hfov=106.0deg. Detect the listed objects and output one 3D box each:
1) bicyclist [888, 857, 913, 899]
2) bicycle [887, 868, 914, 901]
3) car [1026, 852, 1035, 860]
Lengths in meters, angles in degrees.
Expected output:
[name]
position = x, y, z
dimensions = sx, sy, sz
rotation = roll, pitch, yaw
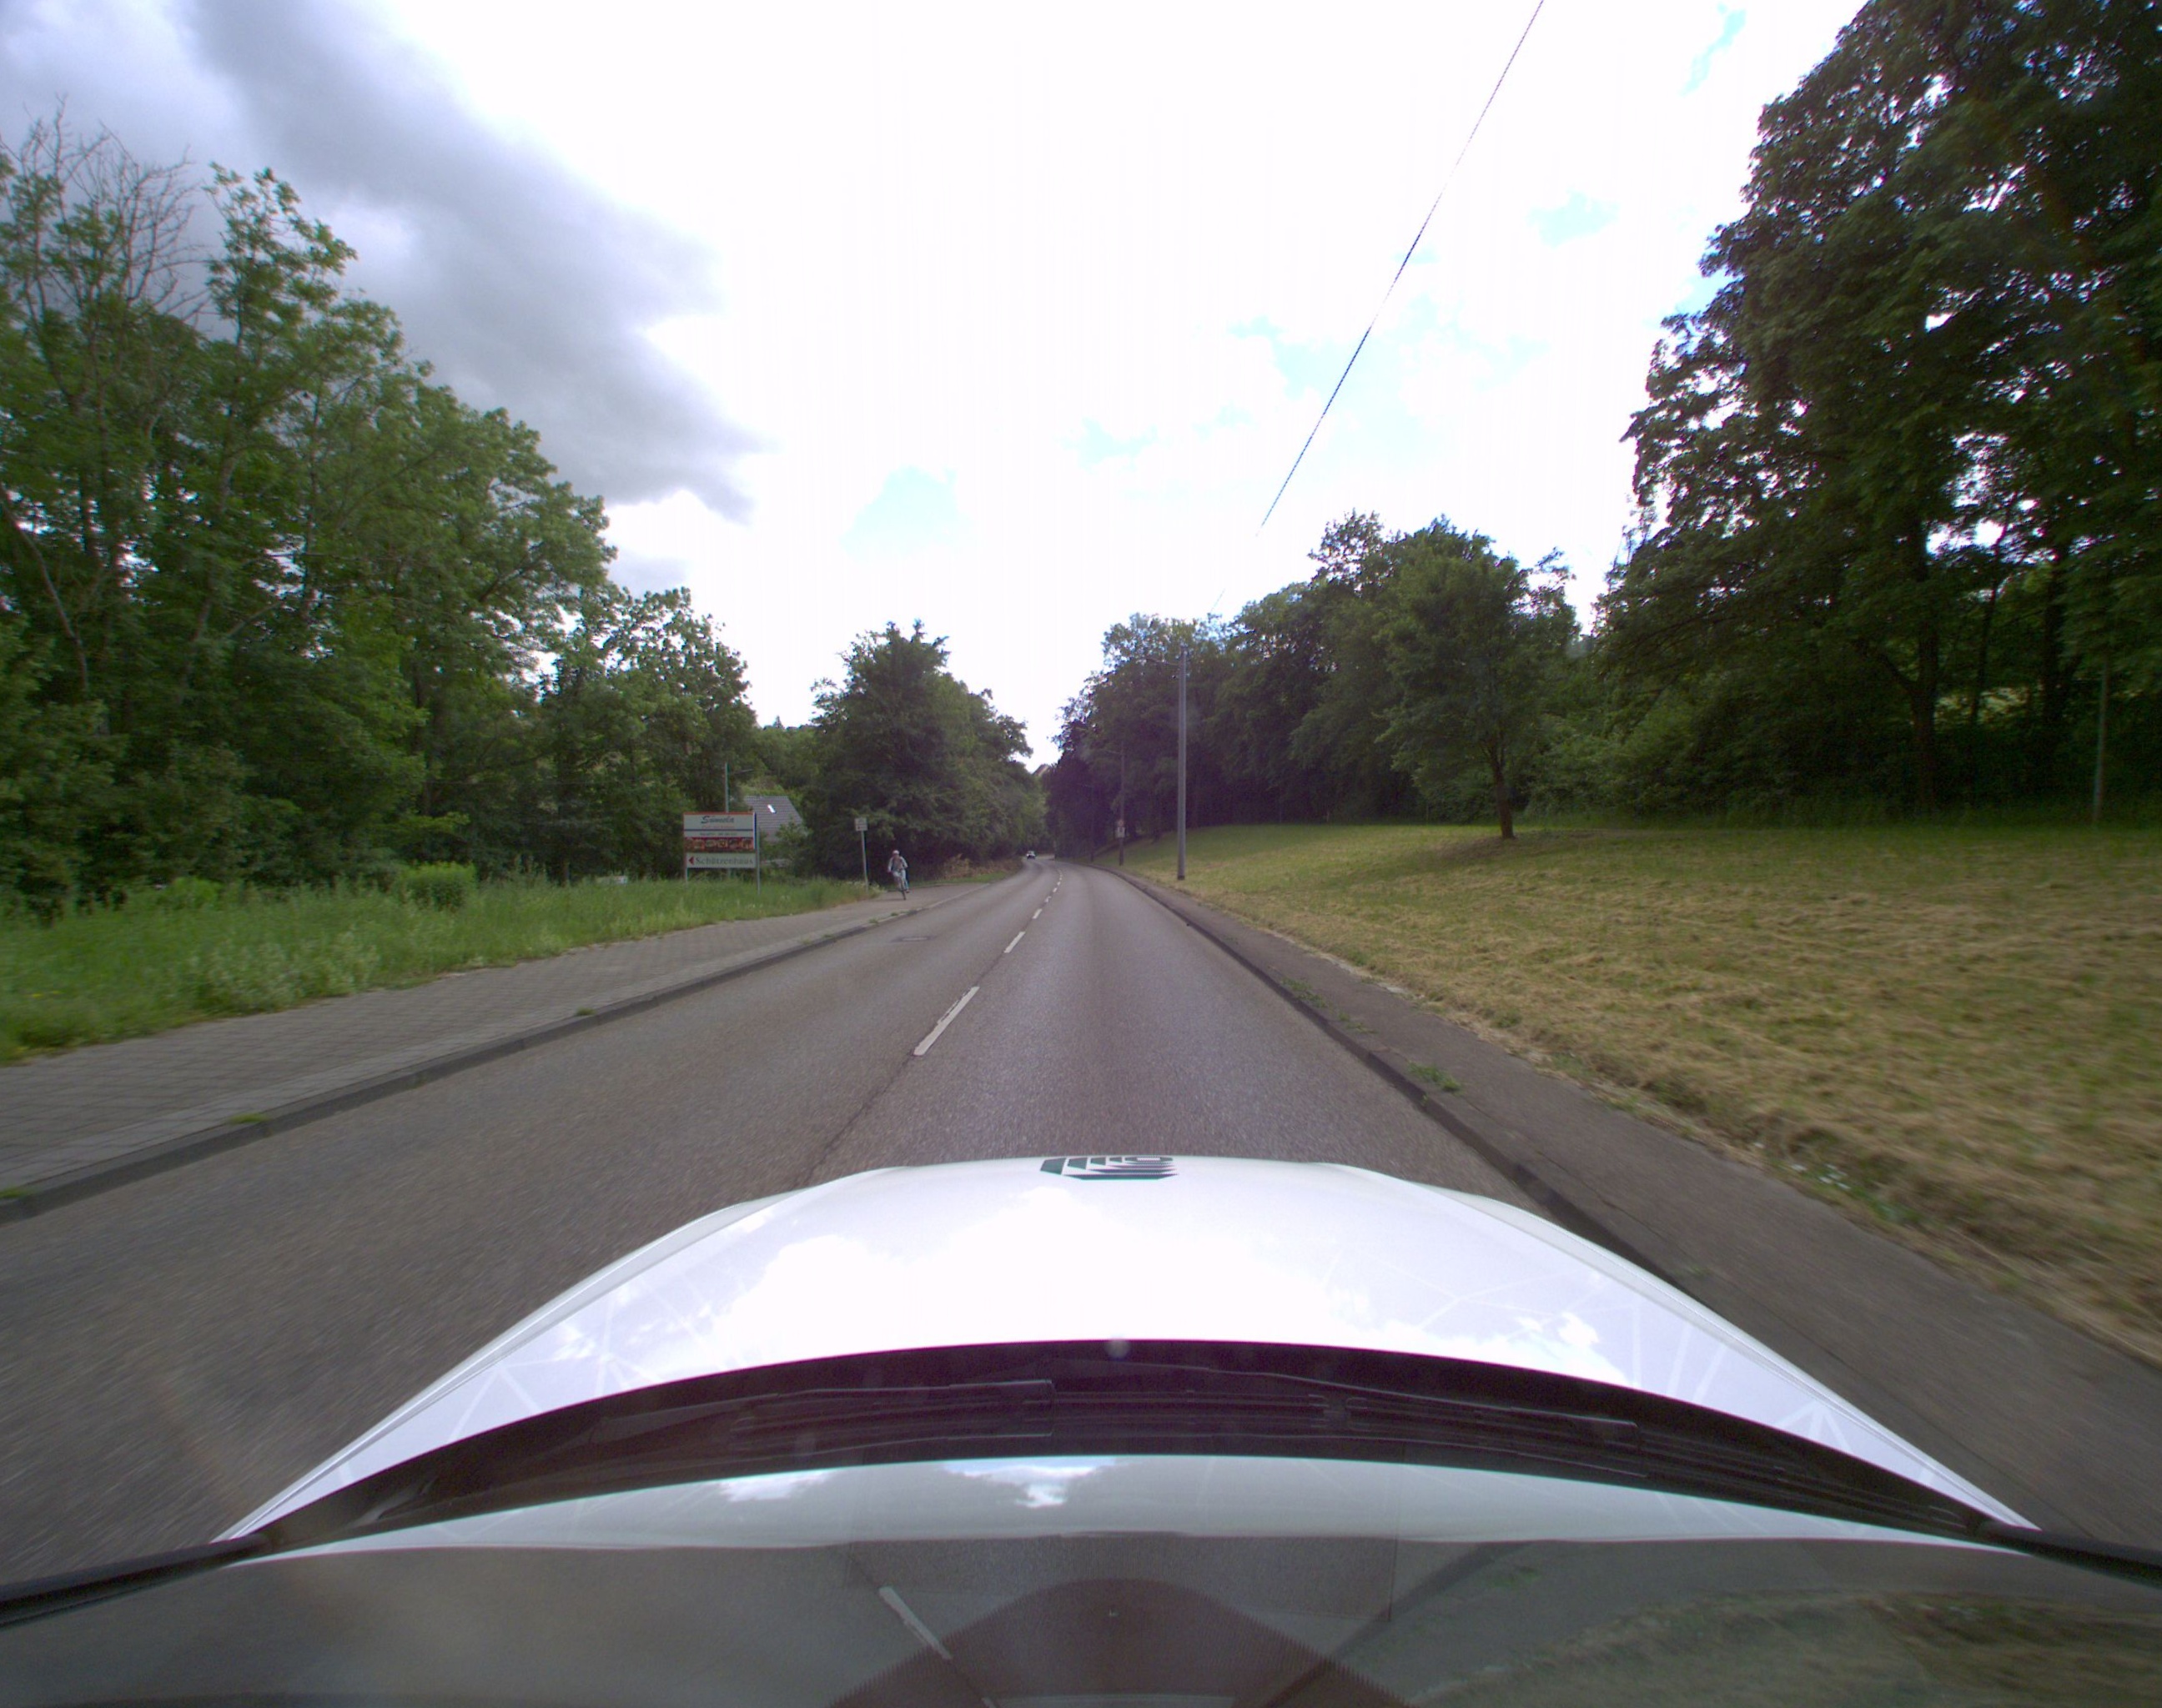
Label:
[bicyclist]
position = -6.147, 0.804, 27.770
dimensions = 0.827, 1.427, 0.778
rotation = 0, -1, -12
[bicycle]
position = -6.119, 0.999, 27.655
dimensions = 0.829, 1.036, 2.433
rotation = 1, -1, -12
[car]
position = -12.445, 0.534, 200.518
dimensions = 1.986, 2.014, 4.001
rotation = 1, -1, 1
